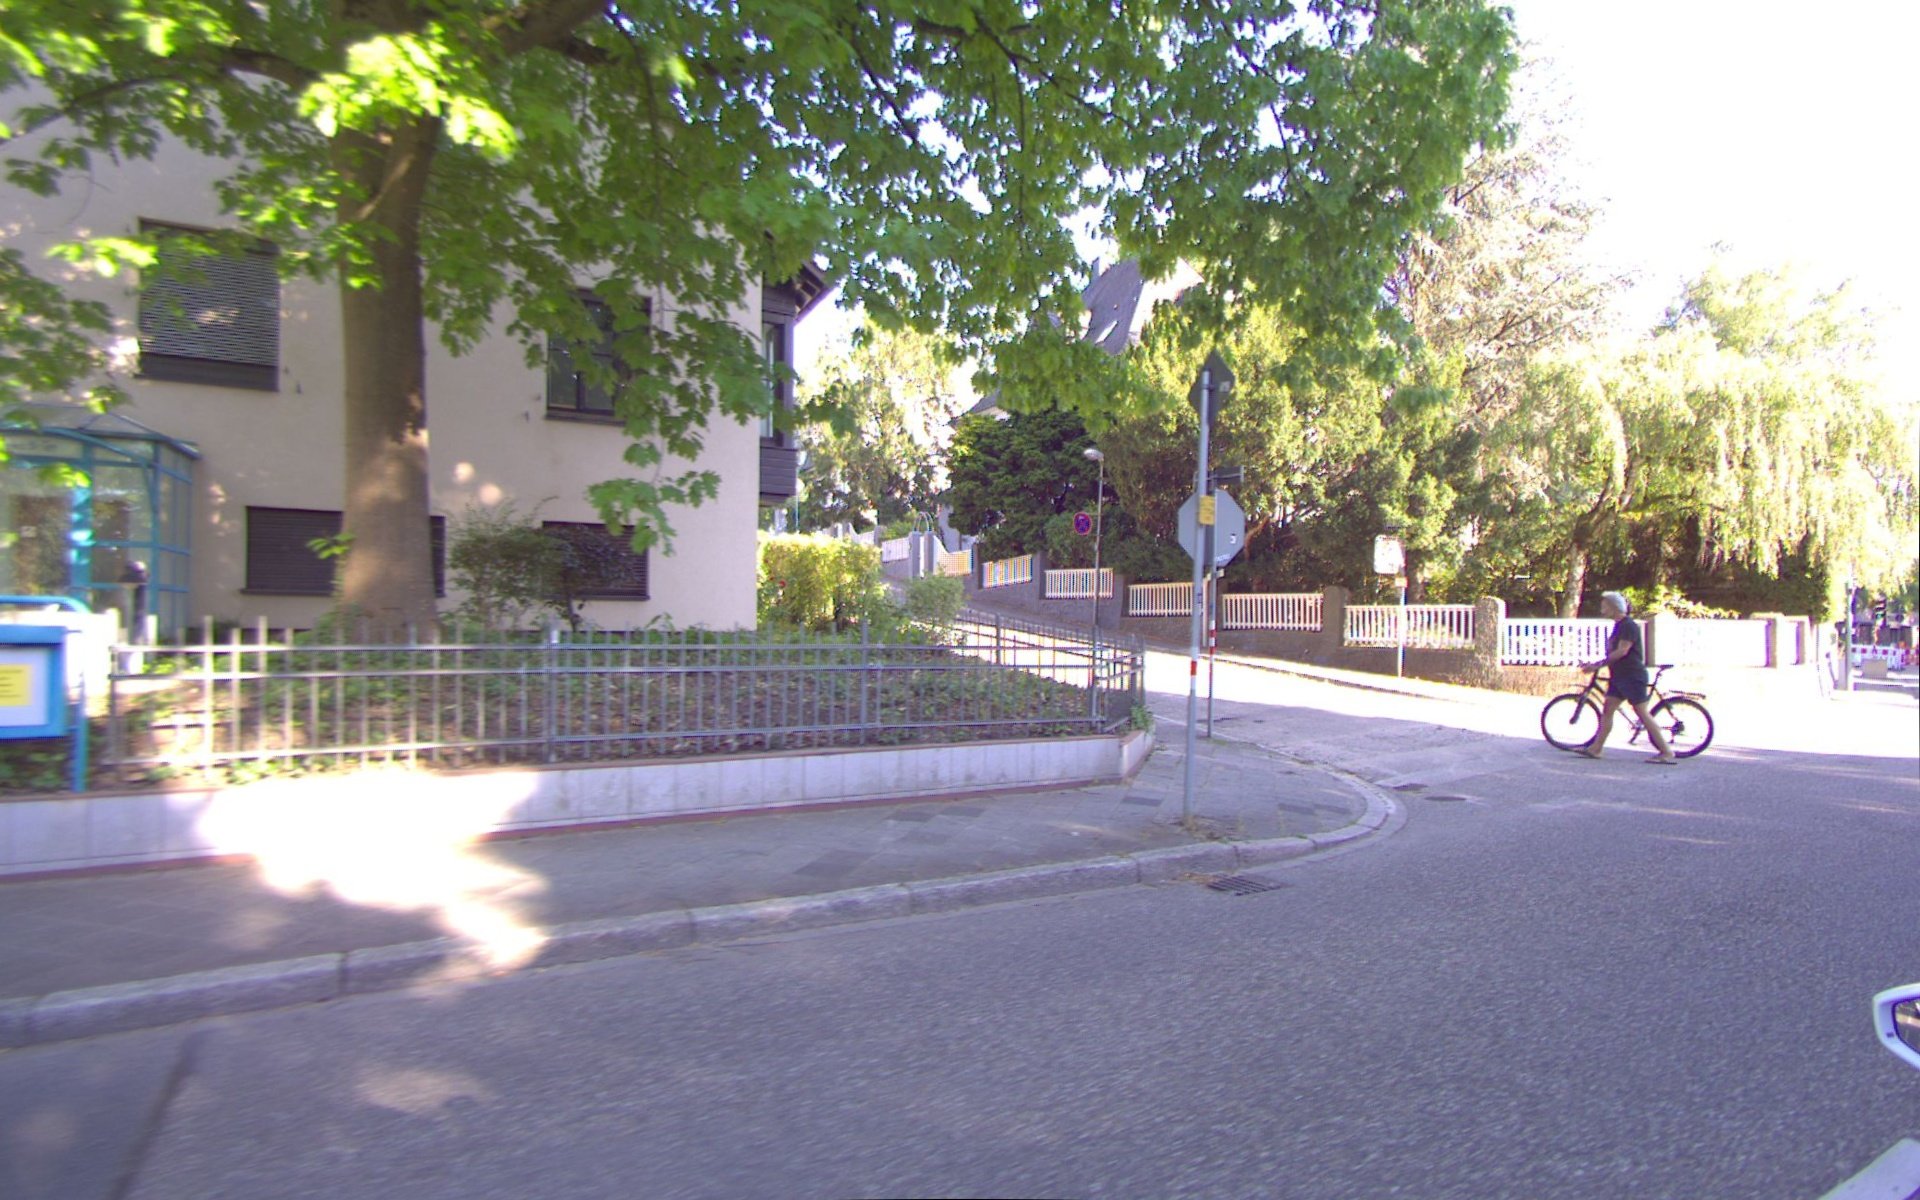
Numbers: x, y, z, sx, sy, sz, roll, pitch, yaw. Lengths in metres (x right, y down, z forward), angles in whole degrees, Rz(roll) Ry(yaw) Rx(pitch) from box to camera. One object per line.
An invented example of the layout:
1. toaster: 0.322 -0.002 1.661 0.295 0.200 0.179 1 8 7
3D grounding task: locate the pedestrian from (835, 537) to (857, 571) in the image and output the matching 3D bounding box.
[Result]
1. pedestrian: -4.904 -1.978 43.226 0.764 1.389 0.566 2 1 -31

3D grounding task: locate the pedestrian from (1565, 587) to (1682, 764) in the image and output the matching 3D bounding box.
1. pedestrian: 7.277 0.802 11.055 0.925 1.850 0.554 2 1 23

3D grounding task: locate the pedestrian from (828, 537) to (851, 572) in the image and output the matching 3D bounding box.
1. pedestrian: -5.002 -1.882 41.702 0.562 1.389 0.769 2 1 41

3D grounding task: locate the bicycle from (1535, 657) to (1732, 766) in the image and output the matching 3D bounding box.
1. bicycle: 7.704 1.256 11.586 1.783 1.057 0.561 2 2 24

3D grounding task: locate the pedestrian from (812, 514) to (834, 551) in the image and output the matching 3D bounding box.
1. pedestrian: -6.422 -3.150 46.949 0.767 1.664 0.687 2 1 -31
